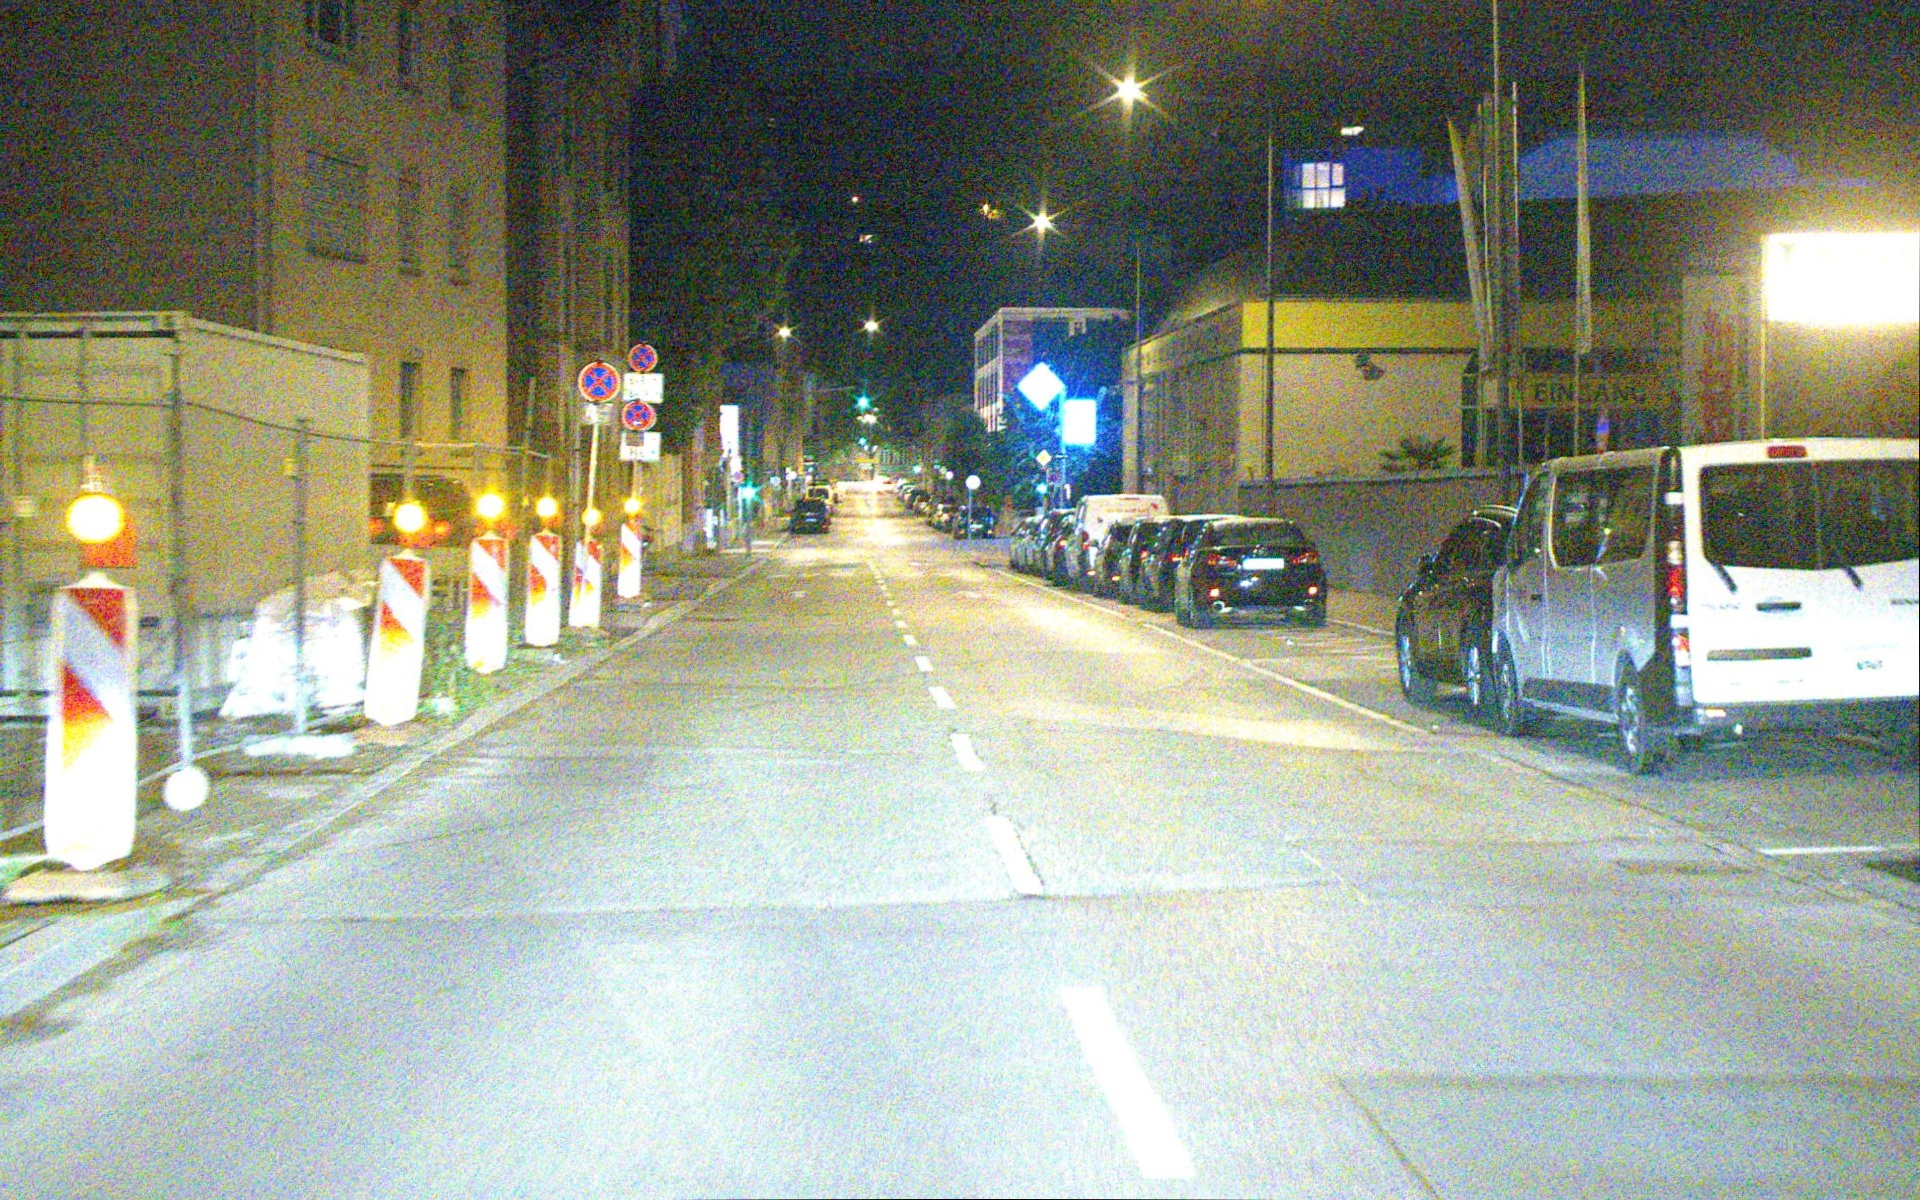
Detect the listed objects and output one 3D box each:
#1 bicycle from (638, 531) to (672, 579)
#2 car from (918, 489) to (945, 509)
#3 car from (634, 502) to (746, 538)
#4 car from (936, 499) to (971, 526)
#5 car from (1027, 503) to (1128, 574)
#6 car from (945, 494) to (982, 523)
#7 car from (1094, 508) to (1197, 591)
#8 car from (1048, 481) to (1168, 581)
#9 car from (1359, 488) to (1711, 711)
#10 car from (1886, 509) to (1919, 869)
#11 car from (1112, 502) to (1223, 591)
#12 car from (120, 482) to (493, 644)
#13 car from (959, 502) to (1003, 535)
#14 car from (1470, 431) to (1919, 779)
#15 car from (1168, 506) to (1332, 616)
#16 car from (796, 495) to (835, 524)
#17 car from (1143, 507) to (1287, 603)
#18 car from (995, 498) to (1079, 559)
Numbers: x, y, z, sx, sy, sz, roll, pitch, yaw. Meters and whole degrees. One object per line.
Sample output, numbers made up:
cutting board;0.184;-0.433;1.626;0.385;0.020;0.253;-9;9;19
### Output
bicycle;-6.733;-1.004;75.898;0.619;1.048;1.722;0;1;-1
car;-2.173;-7.637;259.792;1.993;1.515;4.000;0;1;0
car;-10.886;-3.235;138.916;4.438;1.444;2.000;0;1;-2
car;-0.374;-4.962;194.608;1.993;1.515;4.000;0;1;0
car;2.495;-1.333;73.665;1.816;1.422;4.189;-2;2;-2
car;0.160;-4.981;187.507;1.993;1.515;4.000;0;1;0
car;3.370;-0.931;63.034;1.595;1.462;3.892;0;1;-1
car;2.930;-1.417;68.911;1.800;1.868;4.775;-2;2;-4
car;4.553;-0.050;27.828;1.819;1.593;4.221;-3;1;-4
car;5.096;0.399;13.207;1.743;1.560;4.211;-2;1;-2
car;3.525;-0.919;58.812;1.595;1.462;3.719;0;1;-1
car;-7.837;-0.460;41.363;3.989;1.882;1.908;1;1;11
car;0.986;-3.878;163.560;1.993;1.511;4.000;1;2;0
car;4.827;-0.036;22.100;2.072;1.922;5.371;-2;1;-2
car;3.881;-0.549;46.683;1.779;1.422;4.481;0;1;-1
car;-7.650;-4.775;181.950;1.993;1.497;4.000;0;1;-2
car;3.923;-0.714;53.466;1.778;1.422;3.892;0;1;-2
car;1.985;-1.870;89.680;1.774;1.539;4.547;0;1;-4
